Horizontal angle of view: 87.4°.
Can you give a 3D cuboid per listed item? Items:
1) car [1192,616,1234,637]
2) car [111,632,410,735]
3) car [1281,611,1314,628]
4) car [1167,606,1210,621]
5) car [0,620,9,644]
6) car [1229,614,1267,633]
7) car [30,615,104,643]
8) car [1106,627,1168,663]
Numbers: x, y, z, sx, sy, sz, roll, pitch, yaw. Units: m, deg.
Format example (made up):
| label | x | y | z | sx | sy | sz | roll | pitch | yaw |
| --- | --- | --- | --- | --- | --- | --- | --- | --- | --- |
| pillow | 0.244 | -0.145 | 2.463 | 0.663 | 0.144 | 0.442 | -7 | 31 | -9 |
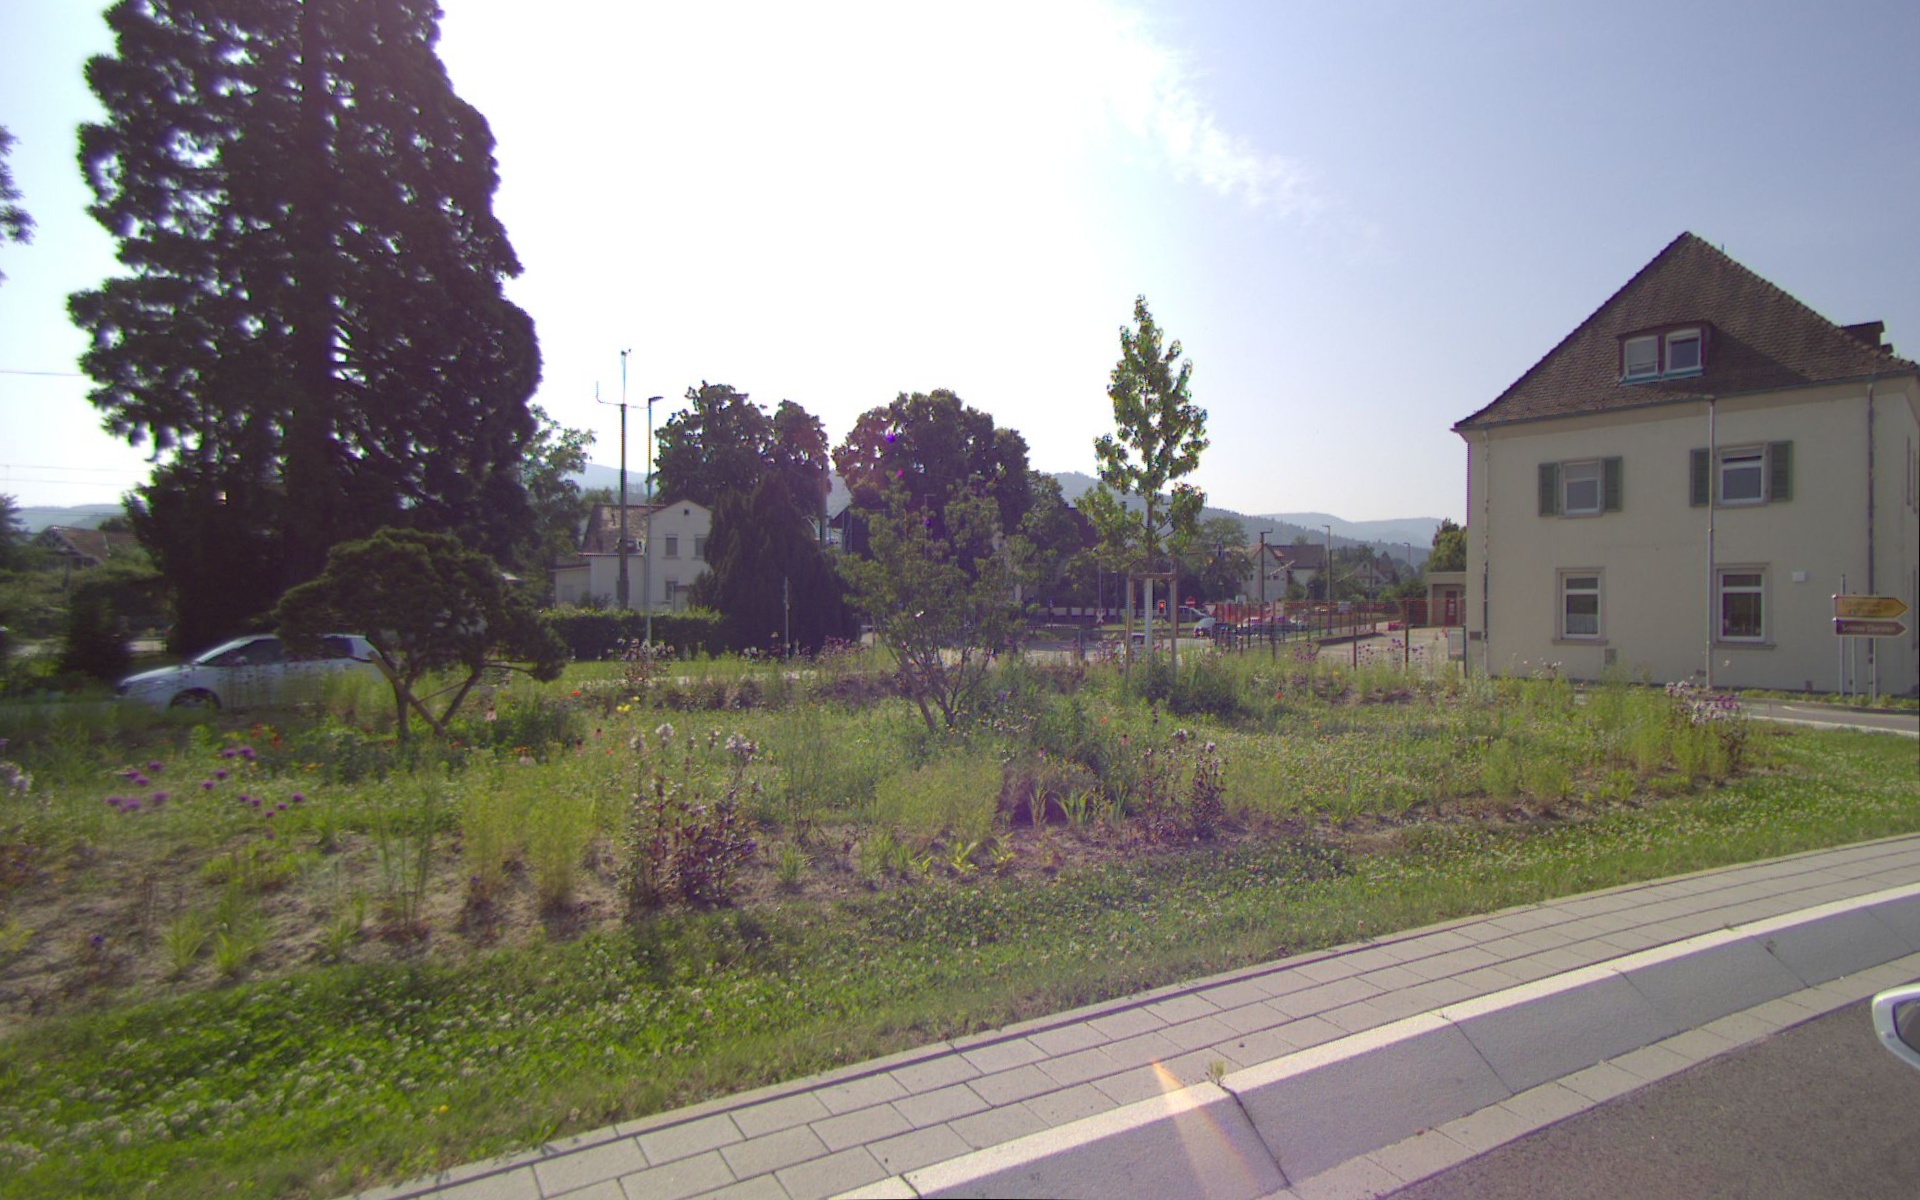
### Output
| label | x | y | z | sx | sy | sz | roll | pitch | yaw |
| --- | --- | --- | --- | --- | --- | --- | --- | --- | --- |
| car | 19.431 | 1.993 | 77.041 | 1.687 | 1.416 | 3.984 | 2 | 2 | 37 |
| car | -12.027 | 1.348 | 17.489 | 1.650 | 1.551 | 3.982 | -2 | -2 | 39 |
| car | 31.458 | 1.813 | 93.647 | 1.687 | 1.416 | 3.984 | 2 | 2 | 37 |
| car | 23.727 | 1.376 | 104.292 | 3.931 | 1.416 | 1.710 | 2 | 2 | 33 |
| car | -45.770 | 1.564 | 46.437 | 1.358 | 1.112 | 3.172 | 0 | 2 | -18 |
| car | 24.019 | 1.919 | 83.573 | 1.687 | 1.416 | 3.984 | 2 | 2 | 37 |
| car | -45.372 | 1.432 | 51.118 | 1.475 | 1.194 | 3.517 | 0 | 2 | -18 |
| car | 8.382 | 2.102 | 47.965 | 1.683 | 1.416 | 3.993 | 1 | 2 | -9 |
